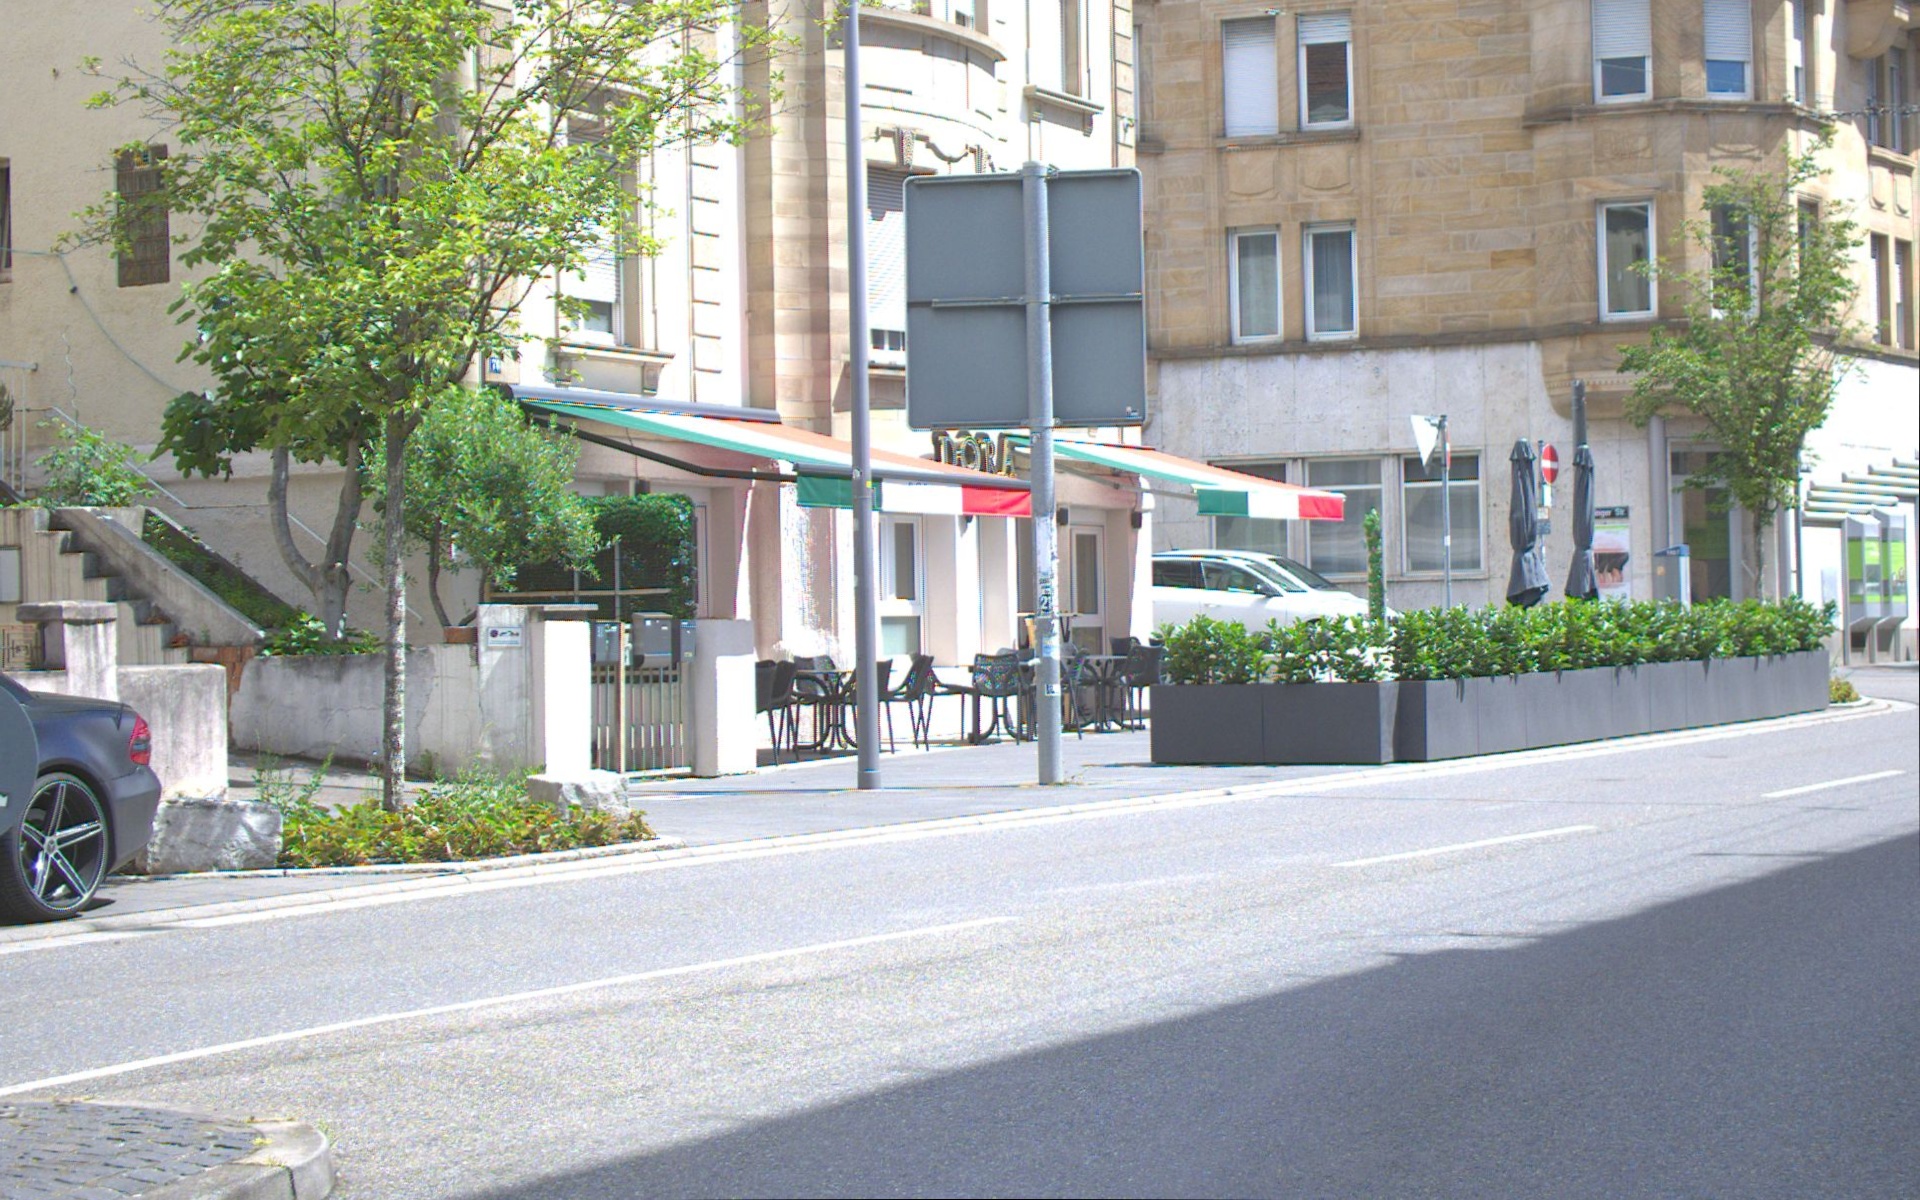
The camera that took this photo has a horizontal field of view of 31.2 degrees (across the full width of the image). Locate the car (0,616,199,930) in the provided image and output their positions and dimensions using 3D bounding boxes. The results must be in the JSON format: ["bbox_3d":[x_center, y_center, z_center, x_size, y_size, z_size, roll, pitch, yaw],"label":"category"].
[{"bbox_3d":[-5.166,0.738,13.772,1.712,1.241,4.405,2,2,27],"label":"car"}]

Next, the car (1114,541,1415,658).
[{"bbox_3d":[4.464,0.004,50.375,3.992,1.656,1.907,0,0,24],"label":"car"}]

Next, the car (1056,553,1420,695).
[{"bbox_3d":[3.619,0.311,44.440,4.421,1.769,1.999,0,0,14],"label":"car"}]
